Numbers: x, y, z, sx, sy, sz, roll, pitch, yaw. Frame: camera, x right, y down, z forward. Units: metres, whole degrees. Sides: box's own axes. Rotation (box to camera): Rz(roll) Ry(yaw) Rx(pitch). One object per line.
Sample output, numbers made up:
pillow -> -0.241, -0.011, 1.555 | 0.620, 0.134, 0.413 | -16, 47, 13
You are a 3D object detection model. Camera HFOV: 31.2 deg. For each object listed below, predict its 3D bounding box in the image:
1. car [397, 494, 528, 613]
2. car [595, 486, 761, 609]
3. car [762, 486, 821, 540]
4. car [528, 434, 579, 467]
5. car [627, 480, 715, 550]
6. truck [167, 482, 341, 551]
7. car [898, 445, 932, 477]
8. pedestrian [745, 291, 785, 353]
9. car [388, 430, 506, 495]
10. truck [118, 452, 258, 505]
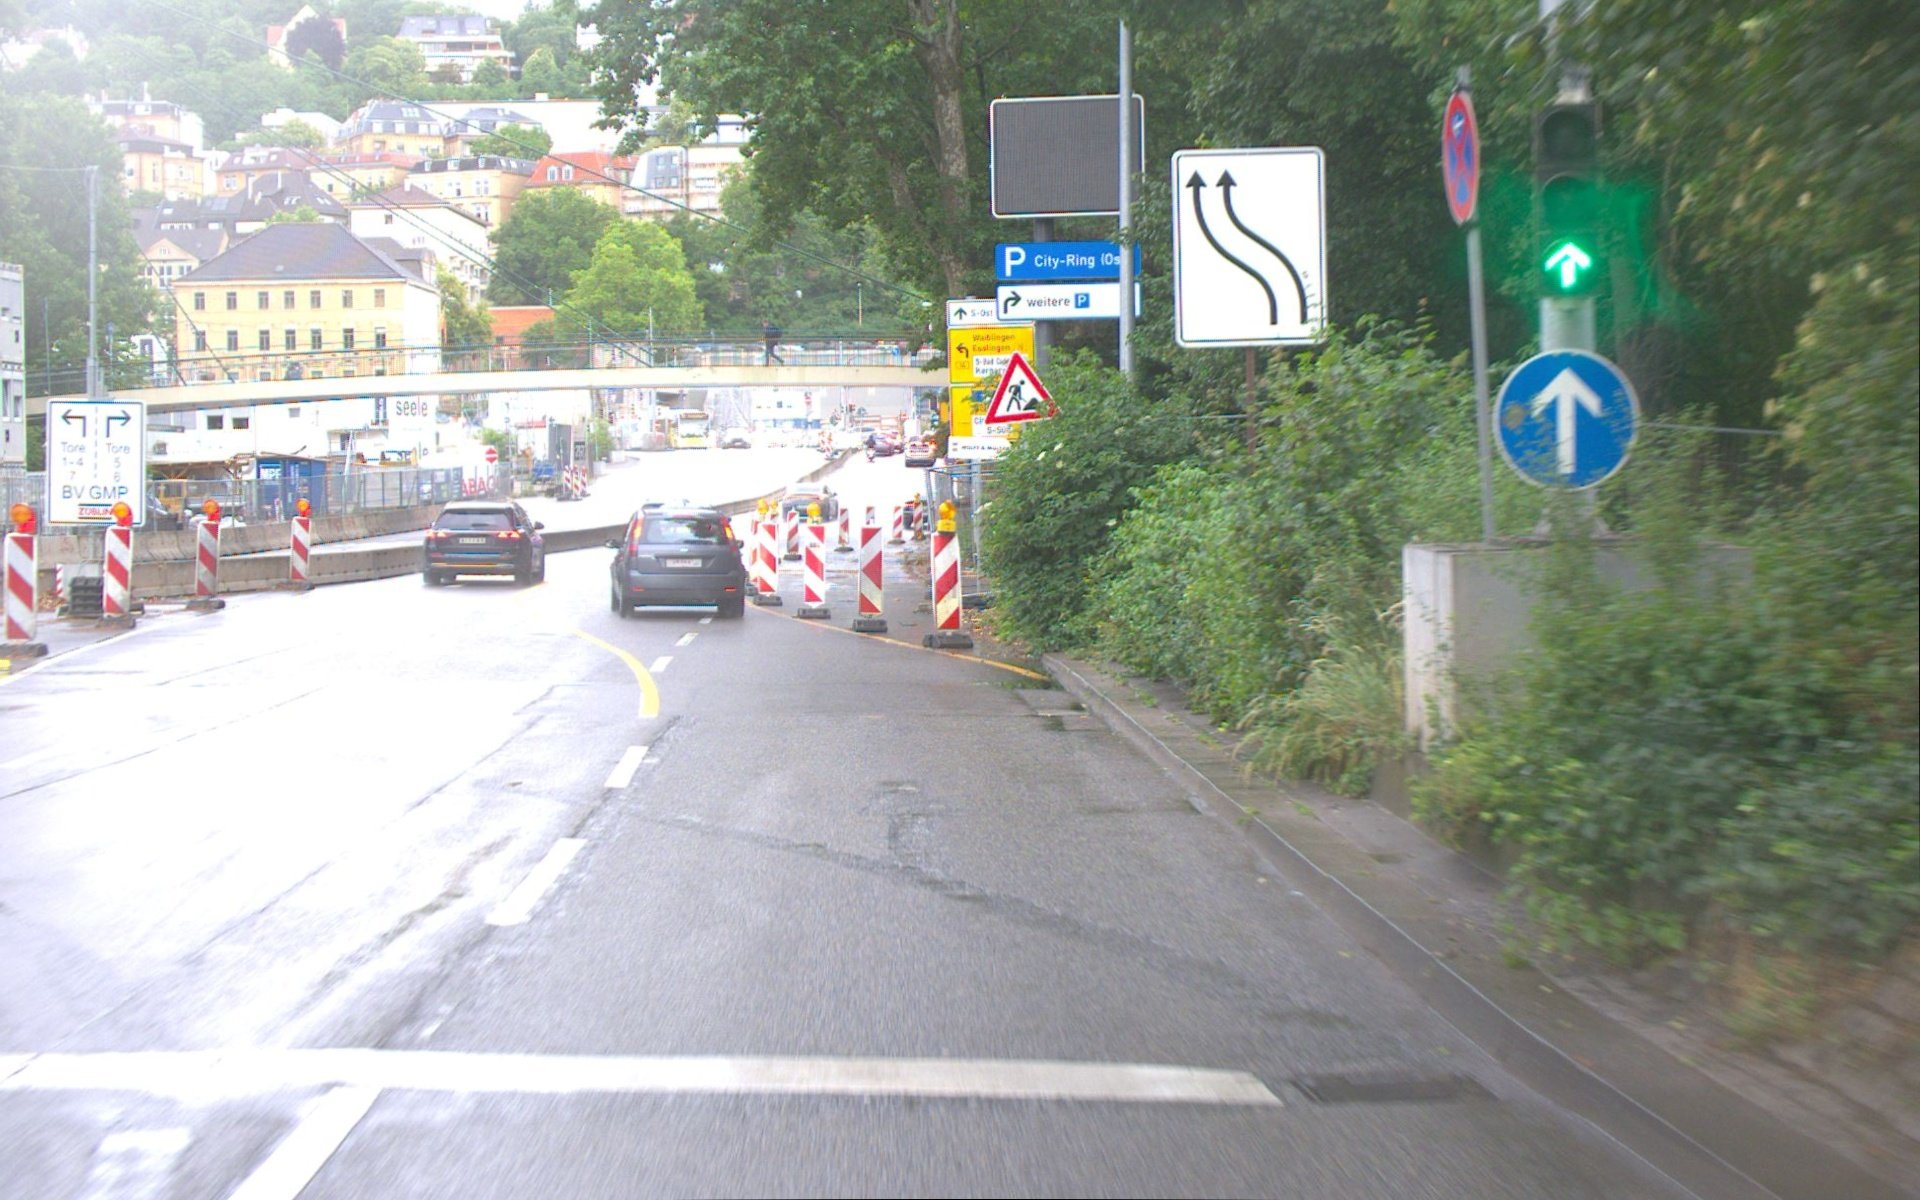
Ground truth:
car -> -8.864, -0.864, 61.549 | 2.016, 2.006, 4.001 | -2, 2, -5
car -> -3.839, -0.734, 46.246 | 1.812, 1.521, 4.001 | -2, 2, -10
car -> -6.578, -3.429, 134.655 | 2.051, 2.006, 4.000 | -2, 2, 0
car -> -22.211, -8.179, 187.905 | 1.994, 1.616, 4.000 | -1, 4, 5
car -> -8.486, -2.523, 101.231 | 1.994, 2.006, 4.000 | 0, 2, 4
truck -> -27.224, -3.227, 132.777 | 6.275, 2.443, 2.695 | -2, 2, -6
car -> -2.743, -8.481, 209.551 | 1.993, 1.862, 4.001 | -2, 2, 0
pedestrian -> -6.823, -9.709, 120.165 | 1.148, 2.053, 1.059 | -1, 2, 9
car -> -23.318, -6.289, 156.552 | 1.996, 2.865, 6.043 | -1, 2, 28
truck -> -31.755, -5.004, 141.483 | 5.246, 2.006, 2.164 | -2, 3, -3
